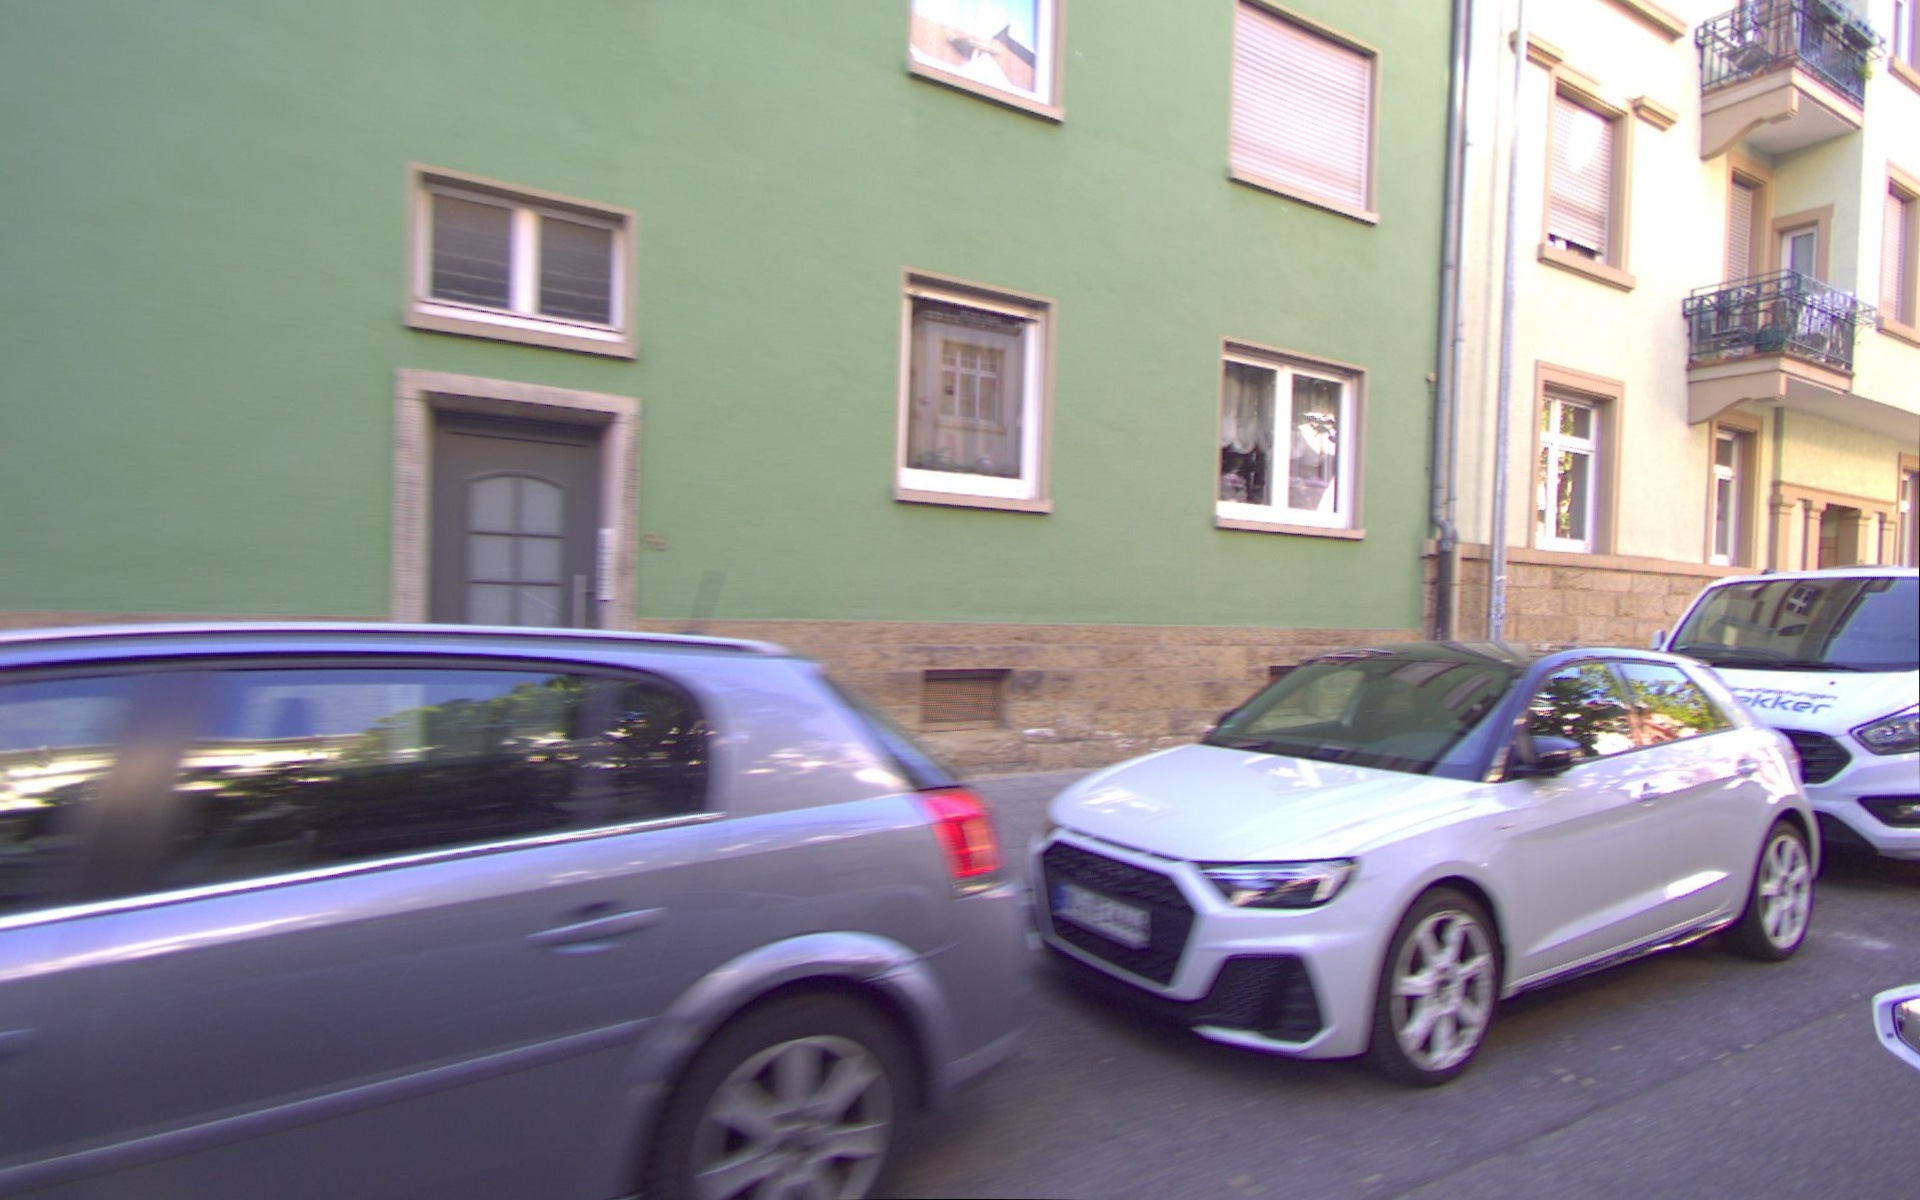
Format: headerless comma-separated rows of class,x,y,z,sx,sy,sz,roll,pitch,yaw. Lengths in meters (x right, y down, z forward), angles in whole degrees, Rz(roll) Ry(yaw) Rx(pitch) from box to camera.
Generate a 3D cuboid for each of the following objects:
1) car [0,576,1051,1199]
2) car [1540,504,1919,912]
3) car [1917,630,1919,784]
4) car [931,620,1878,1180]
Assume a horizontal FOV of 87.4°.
car,-2.093,0.717,2.074,4.458,1.481,1.710,2,-2,-33
car,6.903,0.675,7.581,5.185,2.197,2.239,2,-2,-32
car,12.108,1.129,10.508,4.768,1.542,1.758,2,-1,-30
car,2.186,0.875,4.587,4.313,1.481,1.824,2,-2,-31
